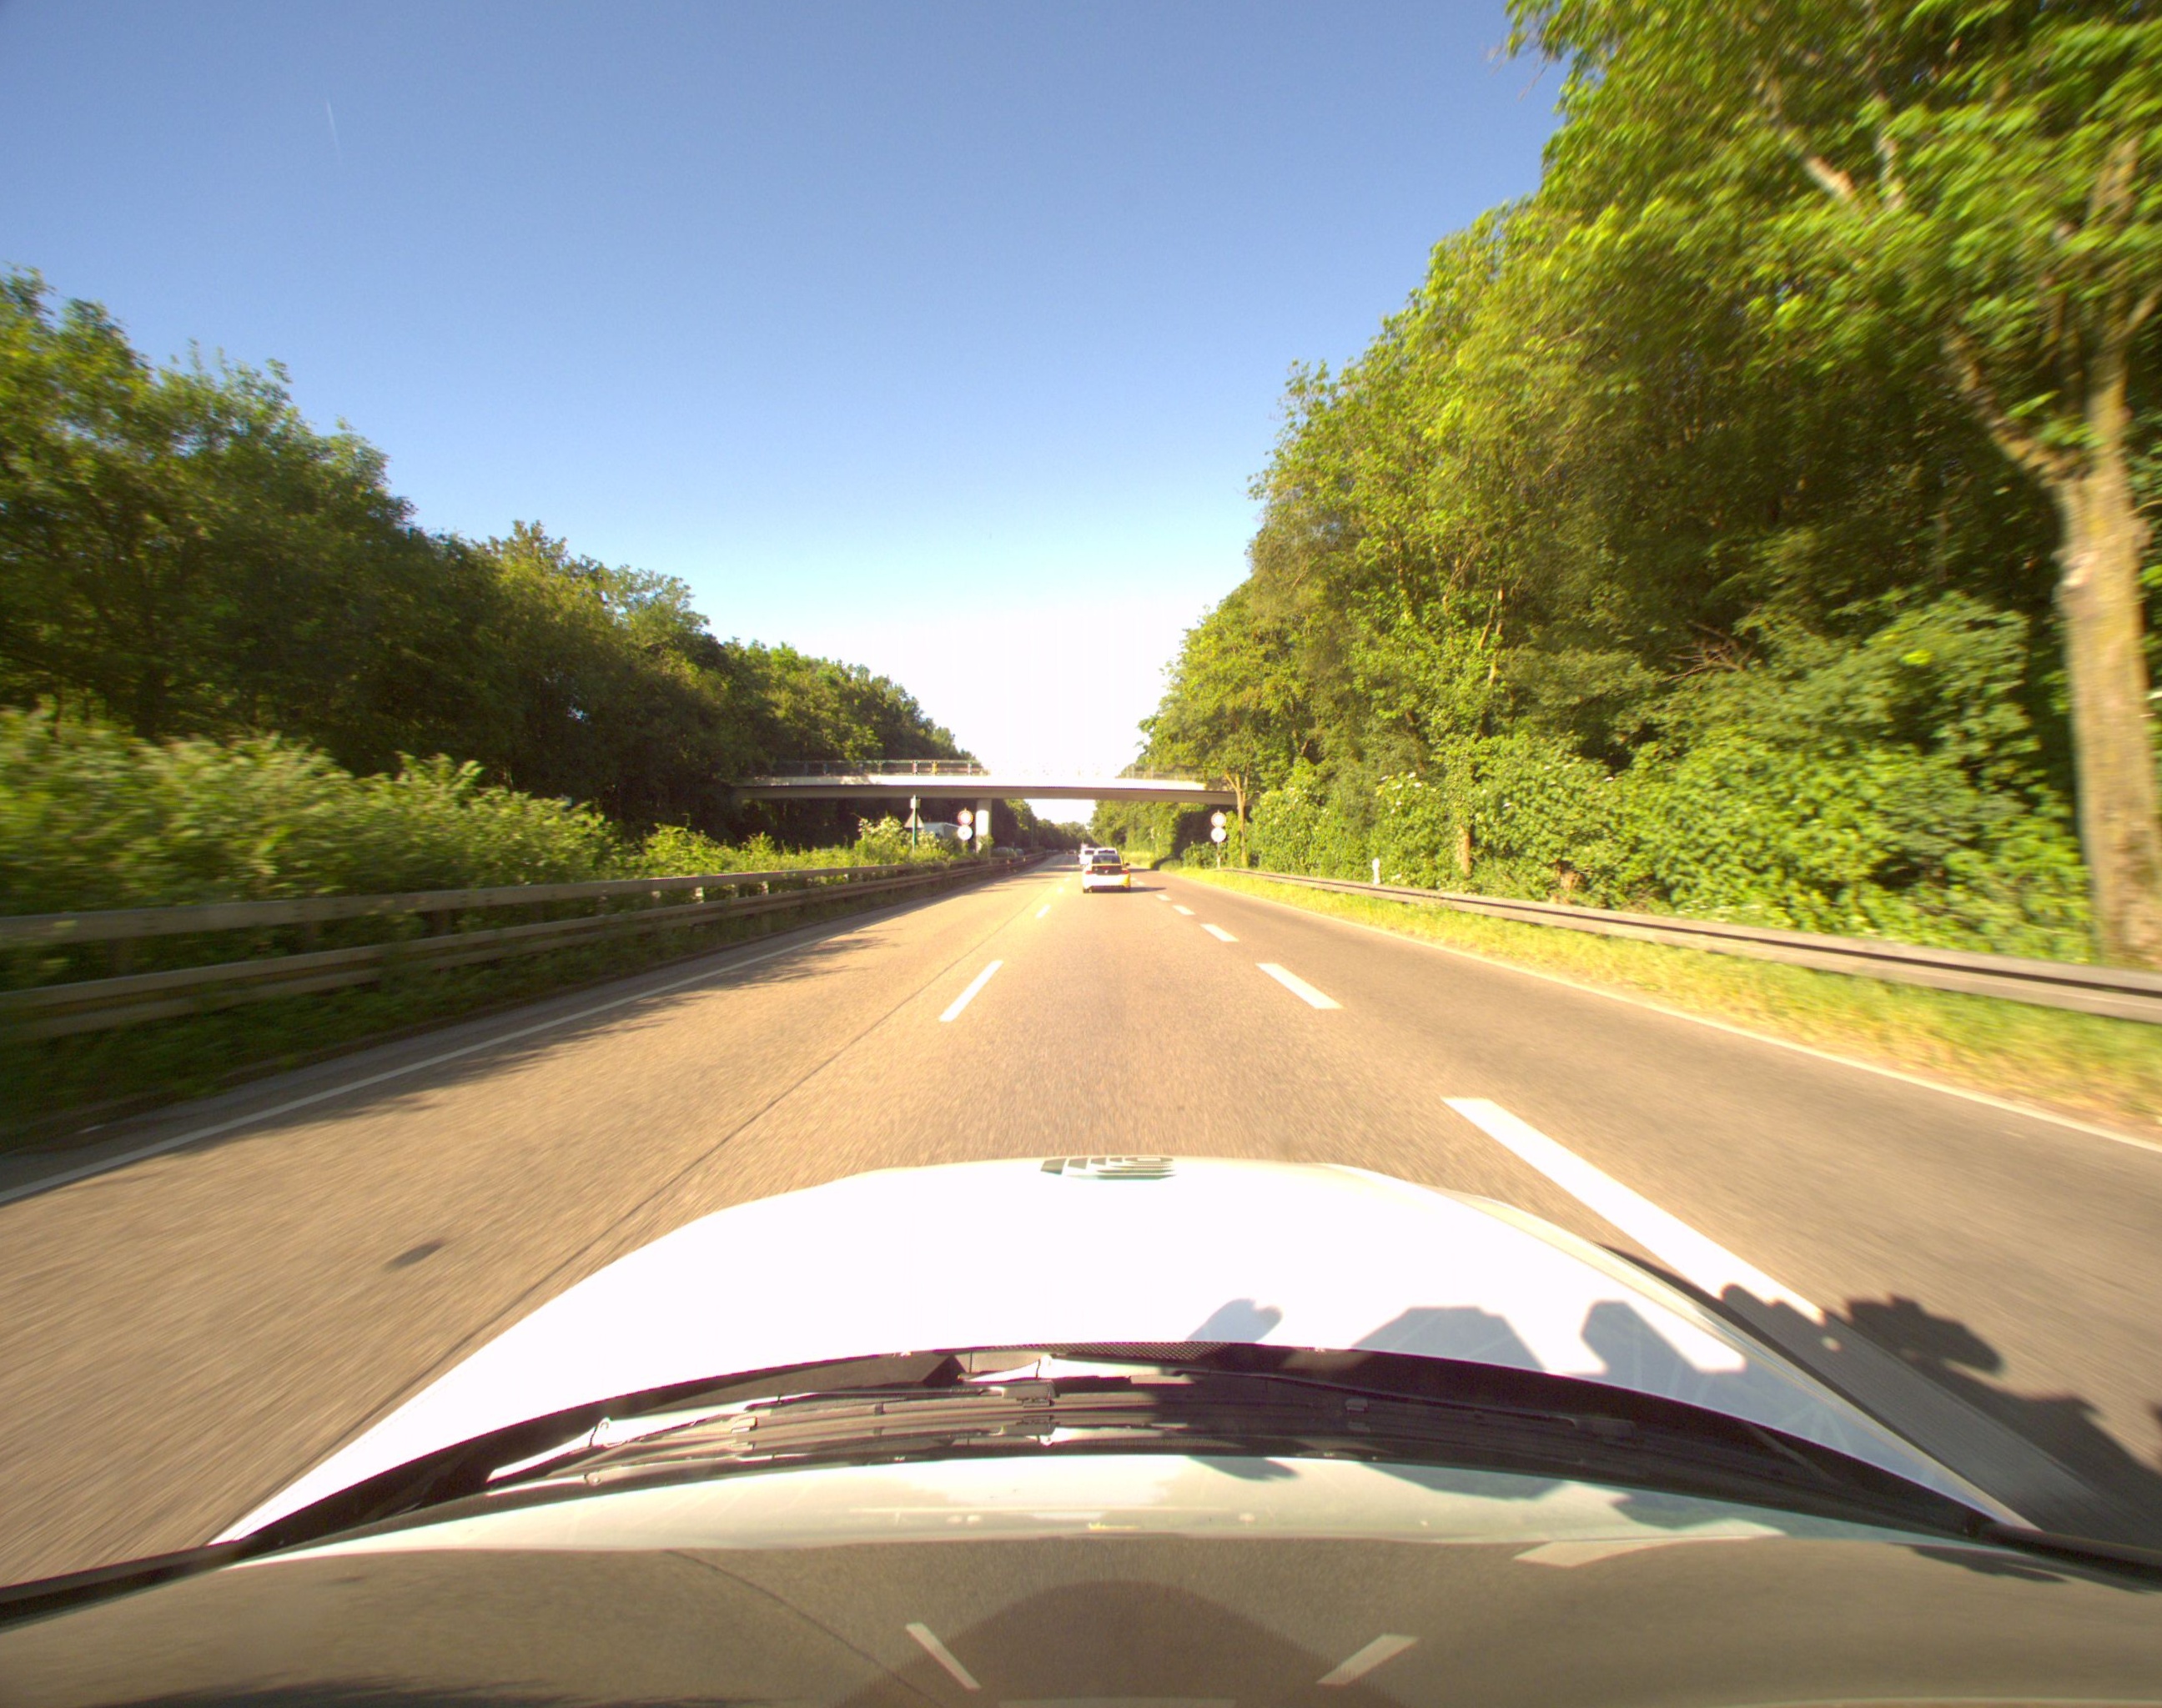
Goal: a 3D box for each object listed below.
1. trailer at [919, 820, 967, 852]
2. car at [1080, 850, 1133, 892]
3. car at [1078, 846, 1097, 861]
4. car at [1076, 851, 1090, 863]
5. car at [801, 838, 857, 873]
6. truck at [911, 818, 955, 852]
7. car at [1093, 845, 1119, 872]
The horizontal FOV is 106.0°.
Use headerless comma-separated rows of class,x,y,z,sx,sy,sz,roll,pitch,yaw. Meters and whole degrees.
trailer,-14.553,-1.828,86.934,2.920,3.168,11.916,0,0,1
car,1.011,0.626,31.345,1.931,1.508,3.425,0,0,3
car,0.656,-0.052,81.515,1.933,1.545,3.422,0,0,0
car,0.236,0.462,123.215,1.988,1.750,4.370,0,0,-1
car,-14.737,0.085,47.917,1.986,2.013,4.001,0,0,1
truck,-14.621,-1.842,80.915,2.920,3.168,7.083,0,0,1
car,1.817,0.309,58.866,1.734,1.830,3.425,2,0,3
